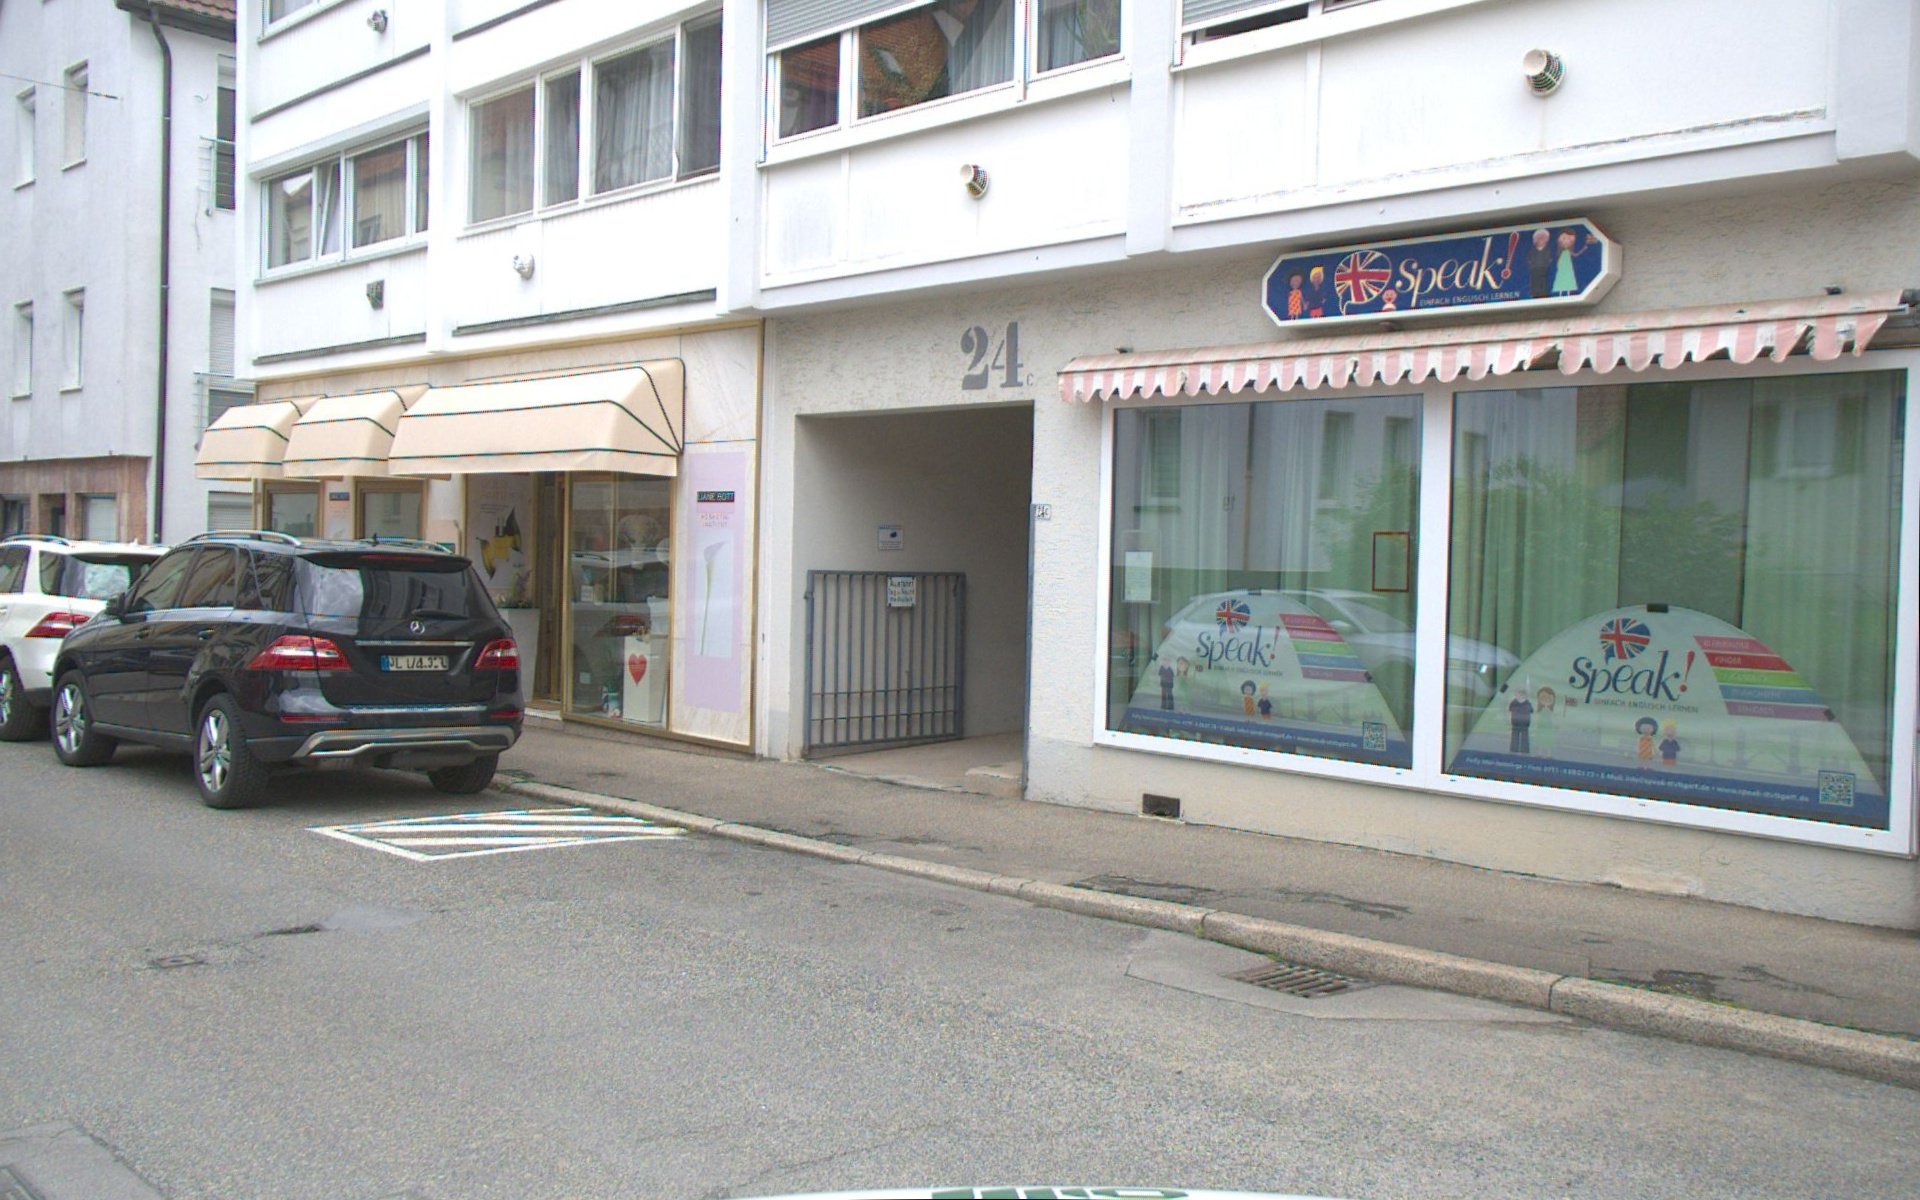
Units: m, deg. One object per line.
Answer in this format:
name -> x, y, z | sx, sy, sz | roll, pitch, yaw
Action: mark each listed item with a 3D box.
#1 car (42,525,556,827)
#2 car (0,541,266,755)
car -> -4.978, 0.449, 12.146 | 4.295, 1.811, 1.933 | 1, -1, 45
car -> -8.486, 0.328, 15.735 | 4.302, 1.741, 1.927 | 3, 2, 44
